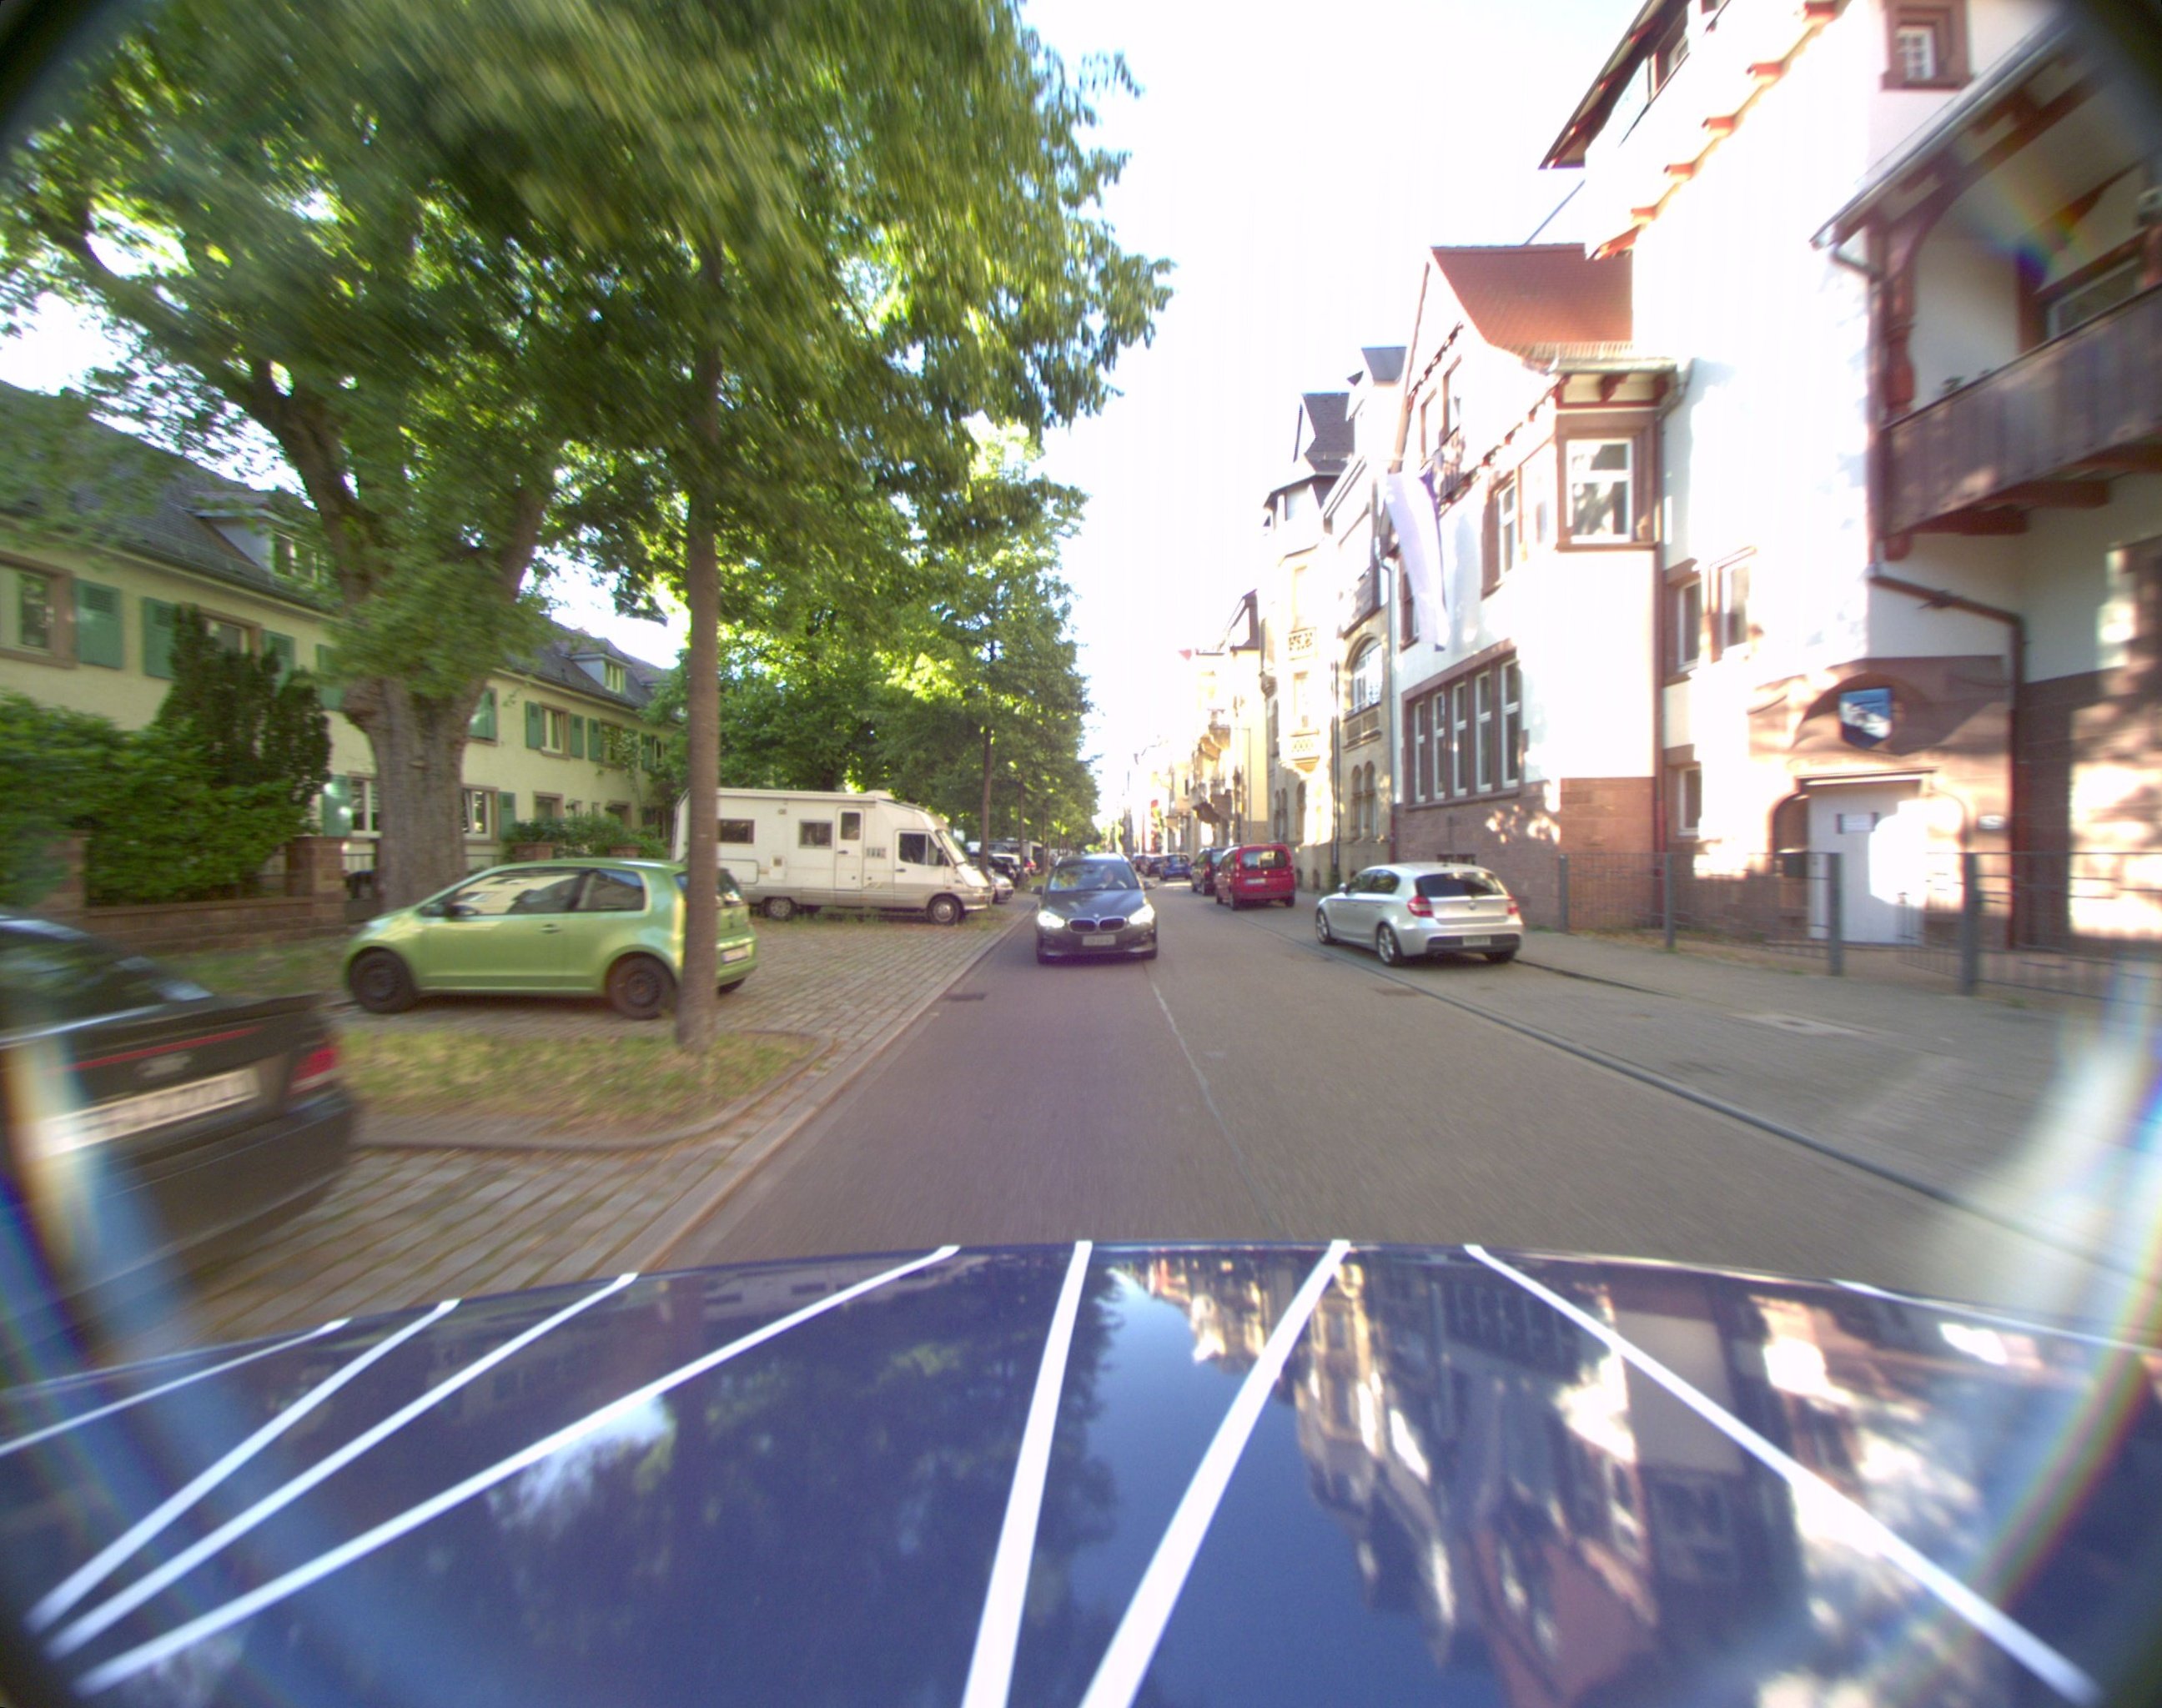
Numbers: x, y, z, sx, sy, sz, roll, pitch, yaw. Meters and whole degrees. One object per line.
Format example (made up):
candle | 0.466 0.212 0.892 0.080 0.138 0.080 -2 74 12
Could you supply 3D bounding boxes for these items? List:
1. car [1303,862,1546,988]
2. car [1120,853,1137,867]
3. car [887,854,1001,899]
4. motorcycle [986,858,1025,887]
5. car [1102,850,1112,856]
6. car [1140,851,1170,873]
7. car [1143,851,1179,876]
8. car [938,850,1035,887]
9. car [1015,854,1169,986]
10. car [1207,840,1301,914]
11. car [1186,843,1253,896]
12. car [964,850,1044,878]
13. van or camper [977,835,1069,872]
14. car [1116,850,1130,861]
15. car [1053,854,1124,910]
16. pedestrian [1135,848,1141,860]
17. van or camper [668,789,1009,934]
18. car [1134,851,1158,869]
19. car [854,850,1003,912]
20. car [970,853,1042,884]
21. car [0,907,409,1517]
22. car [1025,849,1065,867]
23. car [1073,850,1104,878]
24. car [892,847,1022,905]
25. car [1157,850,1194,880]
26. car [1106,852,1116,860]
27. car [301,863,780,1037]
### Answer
car | 4.891 0.902 11.538 1.748 1.458 4.102 -2 0 -1
car | 5.986 0.761 96.665 1.862 1.595 4.000 -3 0 0
car | -4.878 0.791 27.486 3.886 1.464 1.786 1 1 -4
motorcycle | -3.256 0.767 32.688 0.739 1.190 1.771 -1 1 -43
car | 6.705 -0.319 197.630 2.000 1.529 3.997 -3 0 -8
car | 5.533 0.615 57.512 1.694 1.458 3.772 -5 1 -1
car | 5.372 0.623 51.489 1.905 1.430 4.541 -4 0 0
car | -4.396 0.663 35.971 4.344 1.599 1.927 1 1 -1
car | 0.185 0.864 12.201 1.924 1.597 4.516 -3 0 1
car | 5.018 0.604 22.603 1.803 1.896 4.324 -2 1 1
car | 5.281 0.543 29.496 1.774 1.841 4.541 -2 0 1
car | -4.483 0.577 44.725 4.468 1.469 1.753 1 1 2
van or camper | -4.691 -0.093 62.525 7.266 2.888 2.427 -1 2 1
car | 6.178 0.201 112.787 1.922 1.510 4.000 -1 0 0
car | 0.149 0.834 24.756 1.999 1.584 4.261 -3 0 -3
pedestrian | 8.340 -0.018 110.931 0.779 1.693 1.010 -1 1 1
van or camper | -5.324 0.145 17.661 7.095 3.060 2.464 -1 1 -2
car | 5.490 0.478 64.604 1.747 1.457 3.998 -2 1 2
car | -4.466 0.758 22.677 3.971 1.590 1.903 2 2 3
car | -3.746 0.711 38.585 3.456 1.467 1.693 1 1 0
car | -4.758 0.905 2.156 4.115 1.403 1.792 2 1 1
car | -3.713 0.414 79.109 3.997 1.804 2.000 -1 1 1
car | 0.511 0.636 50.781 1.998 1.745 4.000 -1 0 1
car | -4.010 0.691 24.993 3.924 1.734 1.729 2 1 1
car | 5.267 0.583 42.637 1.688 1.500 2.861 -4 0 1
car | 5.216 0.358 133.392 1.702 1.372 4.000 -1 0 0
car | -5.149 0.858 7.585 3.598 1.496 1.678 0 0 1
